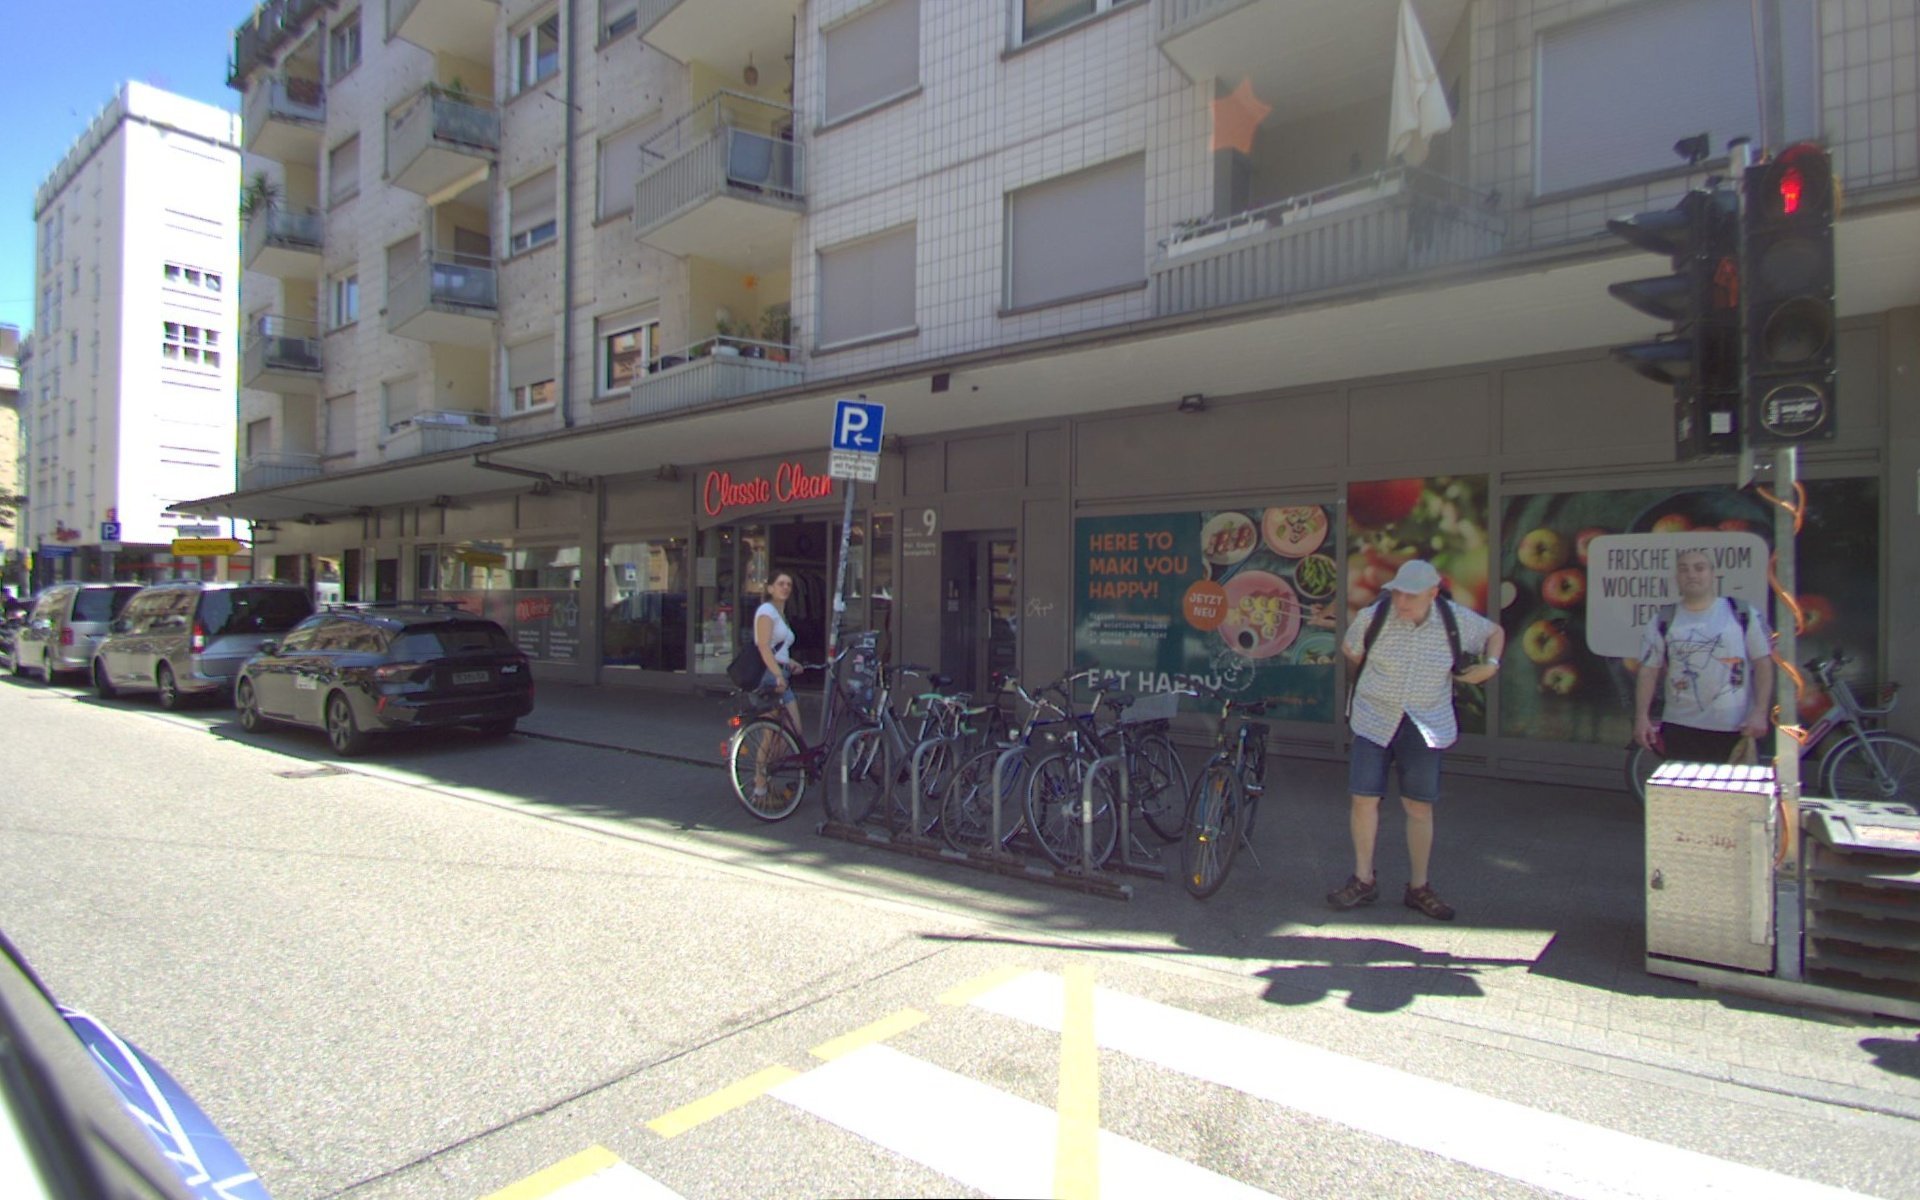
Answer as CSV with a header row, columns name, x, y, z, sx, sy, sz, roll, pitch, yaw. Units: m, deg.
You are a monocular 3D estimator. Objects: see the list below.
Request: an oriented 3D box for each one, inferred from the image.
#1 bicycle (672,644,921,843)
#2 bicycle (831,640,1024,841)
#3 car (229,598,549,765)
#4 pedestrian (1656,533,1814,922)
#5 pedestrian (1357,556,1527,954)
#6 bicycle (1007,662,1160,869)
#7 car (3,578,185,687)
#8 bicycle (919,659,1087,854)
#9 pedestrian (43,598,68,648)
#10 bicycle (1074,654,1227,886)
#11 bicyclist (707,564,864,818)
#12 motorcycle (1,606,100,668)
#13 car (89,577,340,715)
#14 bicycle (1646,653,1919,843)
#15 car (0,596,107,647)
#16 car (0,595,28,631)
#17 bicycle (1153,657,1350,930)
name,x,y,z,sx,sy,sz,roll,pitch,yaw
bicycle,-1.120,0.968,7.419,0.603,1.099,1.918,-4,1,33
bicycle,-0.178,0.907,7.099,0.525,1.147,1.570,0,1,34
car,-6.566,0.757,11.422,4.459,1.536,1.653,0,0,39
pedestrian,3.832,0.588,5.032,0.598,1.784,0.504,0,-1,36
pedestrian,2.335,0.682,4.889,0.631,1.740,0.650,0,-1,36
bicycle,0.815,0.969,6.365,0.334,1.043,1.435,0,1,34
car,-16.602,0.540,19.309,4.894,1.843,1.771,0,0,39
bicycle,0.329,0.970,6.737,0.397,1.038,1.481,0,1,34
pedestrian,-39.198,0.991,43.858,0.599,2.141,0.497,1,-1,-16
bicycle,1.197,0.951,6.143,0.334,1.125,1.506,0,1,34
bicyclist,-1.260,0.606,7.430,0.623,1.719,0.968,0,2,32
motorcycle,-19.599,0.785,21.833,1.529,1.293,0.395,0,1,-19
car,-11.493,0.613,15.498,4.690,1.825,1.773,0,0,36
bicycle,5.173,0.890,6.315,1.422,1.094,0.319,-1,-1,20
car,-27.682,0.620,29.548,1.808,1.436,3.851,0,-1,30
car,-42.479,0.559,43.131,1.650,1.540,3.838,0,-1,38
bicycle,1.683,0.957,5.639,0.576,1.131,1.784,0,1,32
